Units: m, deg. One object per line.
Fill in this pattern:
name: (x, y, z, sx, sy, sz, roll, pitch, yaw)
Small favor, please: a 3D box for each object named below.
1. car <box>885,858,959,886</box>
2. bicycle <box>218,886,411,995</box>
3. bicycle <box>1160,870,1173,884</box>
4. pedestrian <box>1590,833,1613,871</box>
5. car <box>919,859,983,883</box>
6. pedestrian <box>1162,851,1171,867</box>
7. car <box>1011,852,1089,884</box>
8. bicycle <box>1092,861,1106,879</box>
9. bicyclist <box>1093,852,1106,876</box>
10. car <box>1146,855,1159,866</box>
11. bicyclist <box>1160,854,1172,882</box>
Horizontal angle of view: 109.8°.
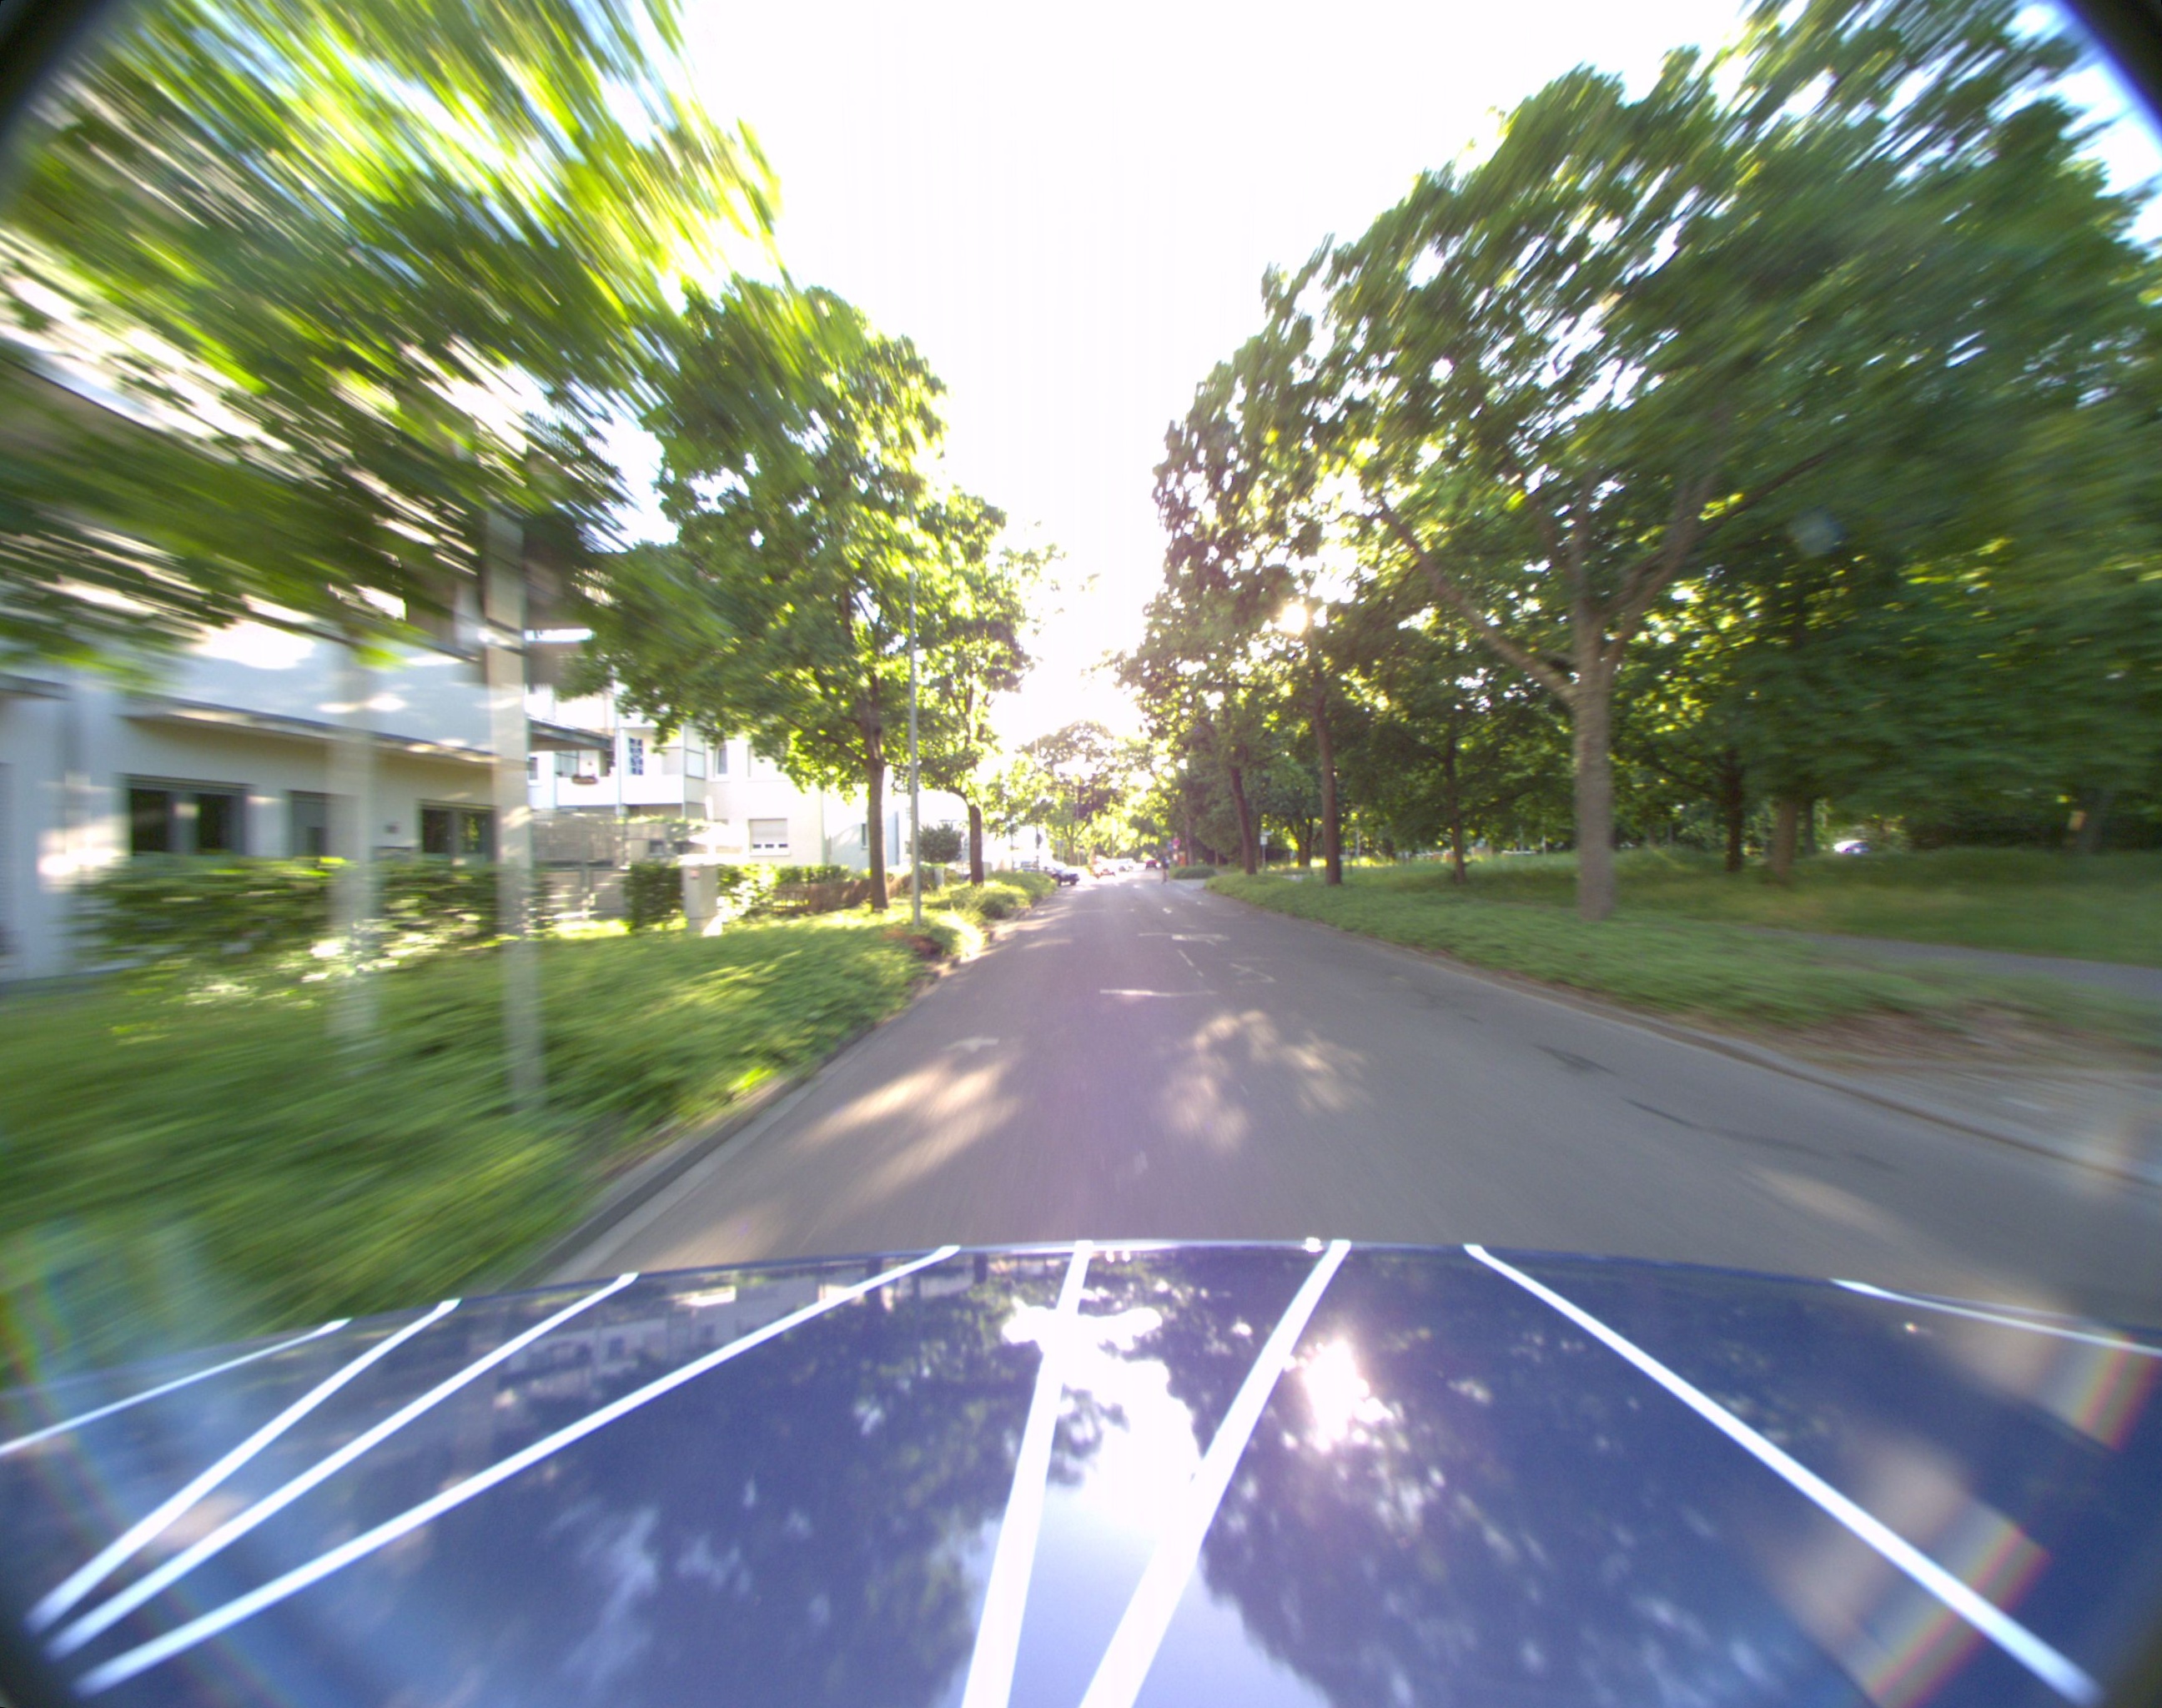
car: (-9.422, 1.066, 45.321, 3.997, 1.572, 1.810, -1, -1, 1)
bicycle: (-9.724, 1.046, 9.749, 0.619, 1.184, 1.753, -2, 0, 1)
bicycle: (4.753, 1.288, 42.366, 0.640, 0.737, 2.127, 1, 0, 6)
pedestrian: (27.727, -0.114, 40.465, 0.758, 2.002, 0.590, -2, 1, 0)
car: (-9.009, 1.164, 52.693, 4.050, 1.506, 1.727, -2, 1, 2)
pedestrian: (10.327, 0.591, 91.657, 0.905, 1.810, 0.721, -2, 0, 3)
car: (-1.868, 0.830, 44.990, 4.268, 1.663, 1.772, -3, 0, 33)
bicycle: (1.340, 1.158, 54.965, 0.829, 1.182, 2.303, -2, 0, 5)
bicyclist: (1.305, 0.718, 54.856, 0.819, 1.635, 0.745, -3, 0, 5)
car: (11.049, 1.018, 117.212, 1.847, 1.569, 4.339, 0, 0, 9)
bicyclist: (4.745, 0.780, 42.273, 0.634, 1.546, 1.003, 1, 0, 5)
